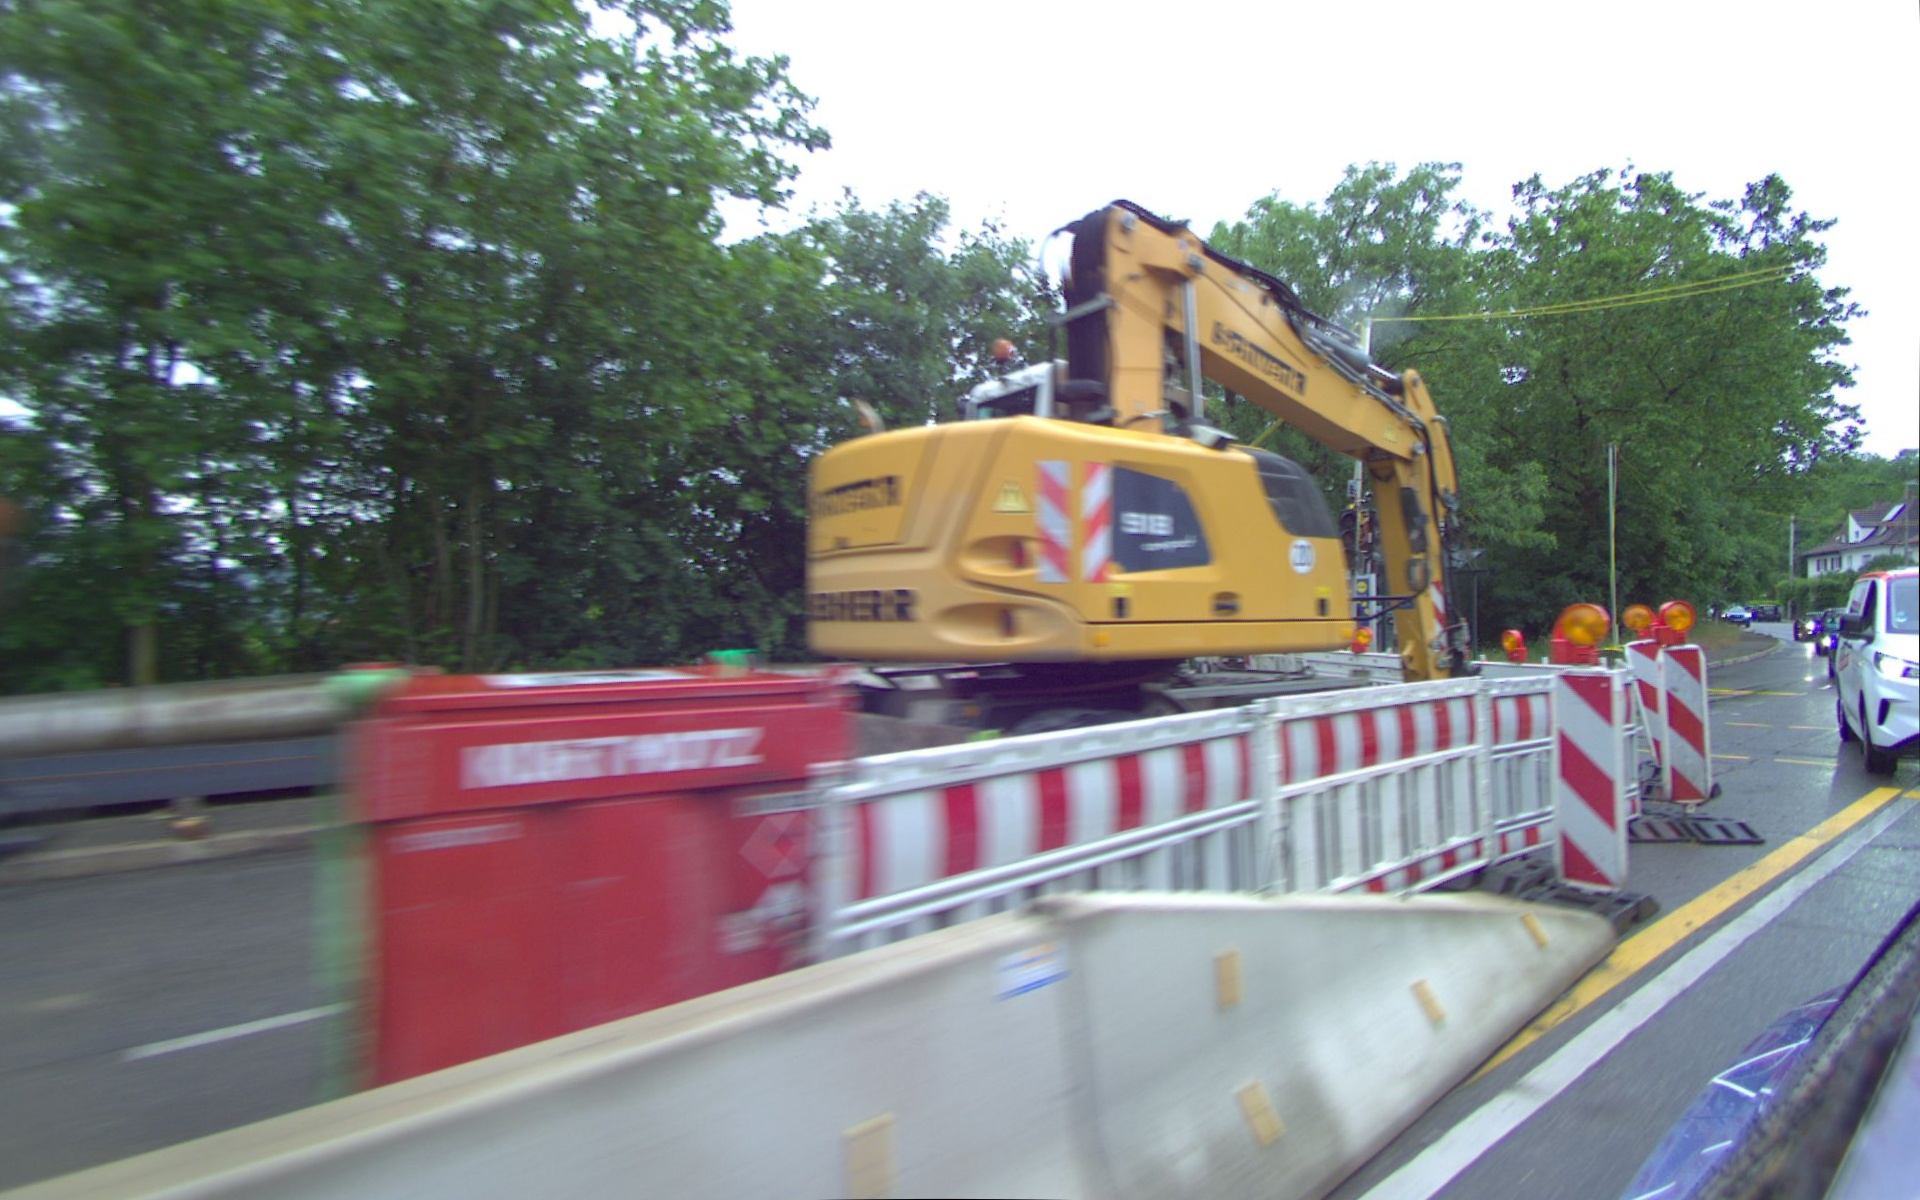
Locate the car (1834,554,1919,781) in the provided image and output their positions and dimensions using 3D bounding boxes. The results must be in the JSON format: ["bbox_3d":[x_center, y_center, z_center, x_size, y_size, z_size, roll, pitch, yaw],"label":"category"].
[{"bbox_3d":[10.295,0.514,10.105,2.036,1.918,5.137,-3,-1,38],"label":"car"}]

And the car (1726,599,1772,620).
[{"bbox_3d":[55.731,0.692,71.456,3.562,1.353,1.823,-1,-1,-40],"label":"car"}]

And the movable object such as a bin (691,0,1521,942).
[{"bbox_3d":[0.982,-0.793,6.356,4.403,4.224,2.887,1,-1,-37],"label":"movable object such as a bin"}]
